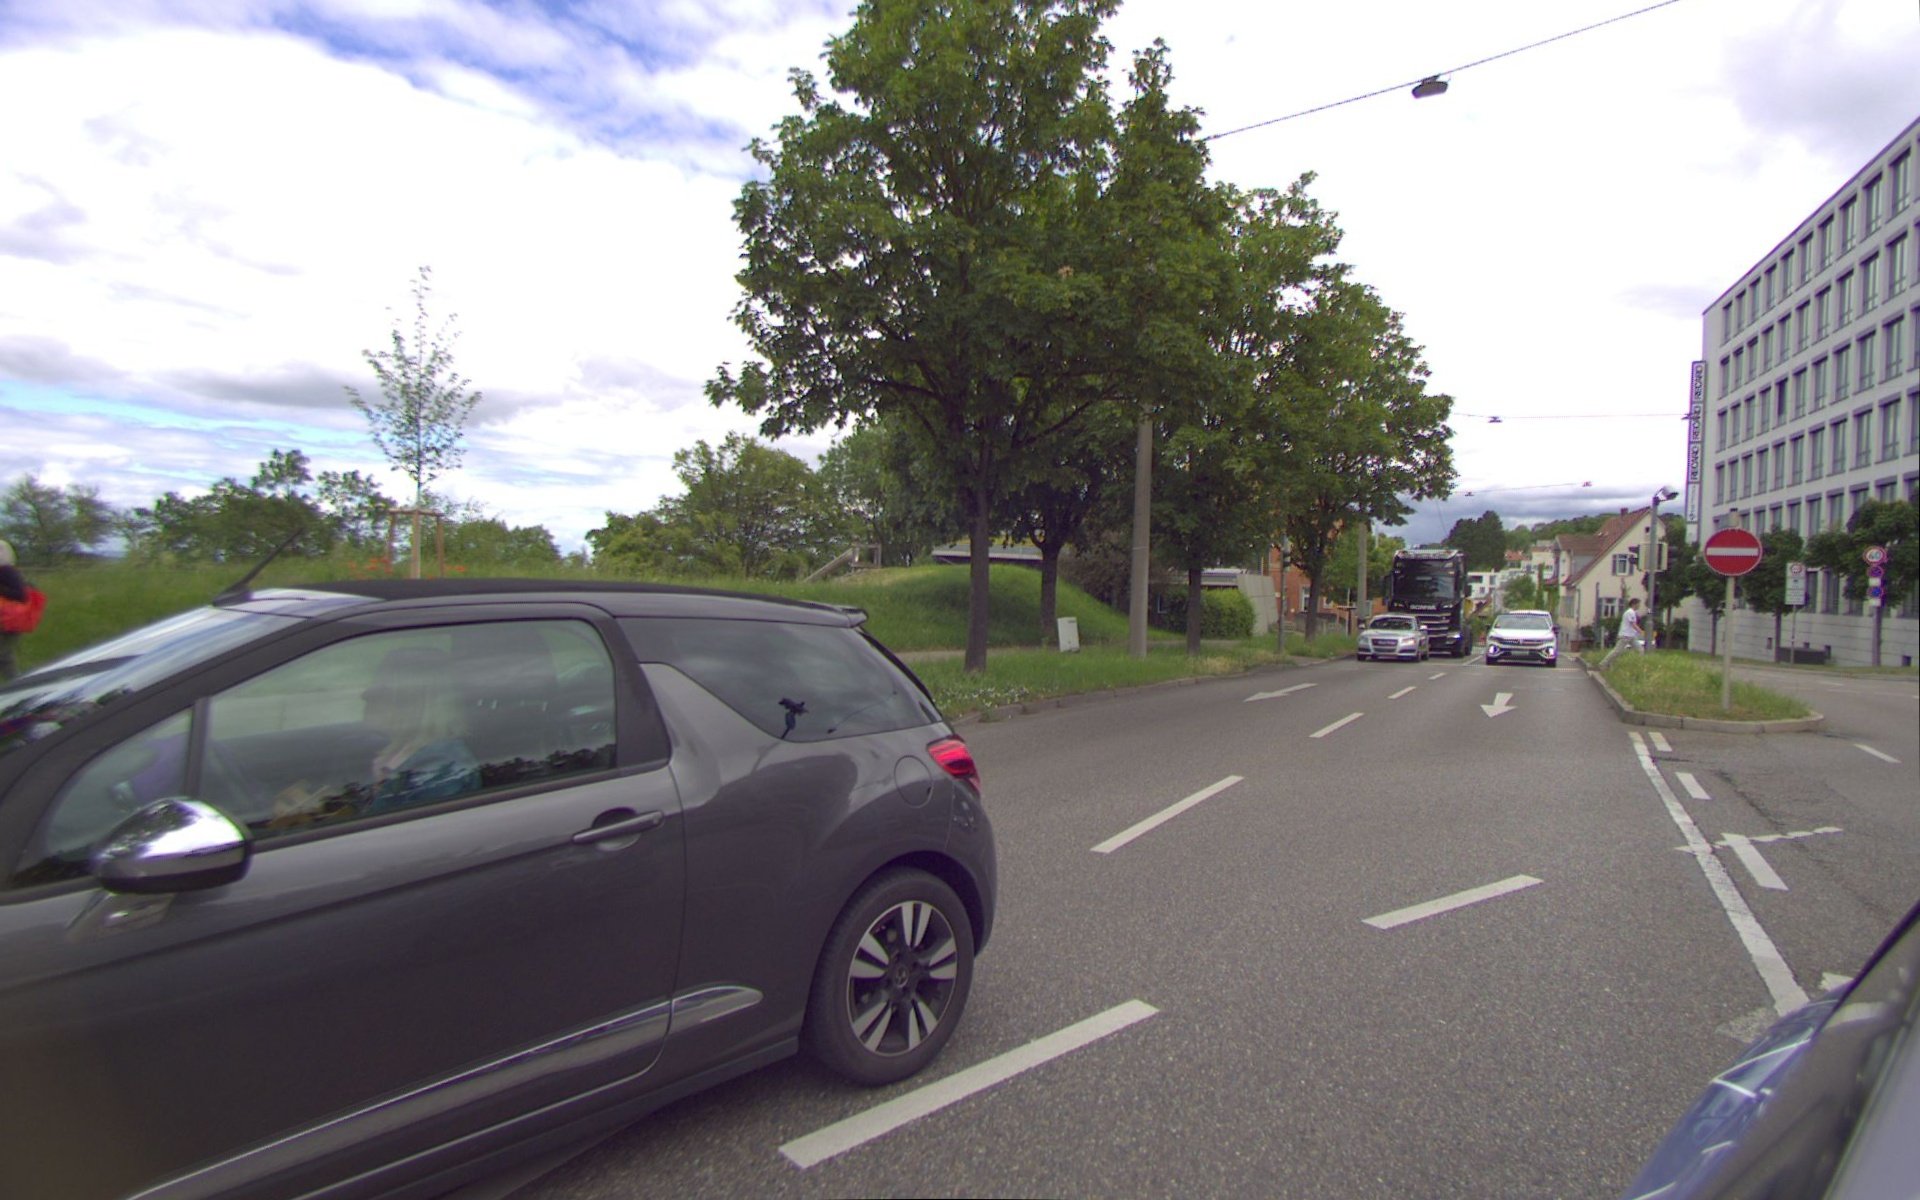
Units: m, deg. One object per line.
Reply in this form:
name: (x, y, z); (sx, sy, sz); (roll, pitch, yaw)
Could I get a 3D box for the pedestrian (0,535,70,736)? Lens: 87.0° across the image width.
pedestrian: (-8.060, 0.284, 8.502); (0.539, 1.623, 0.694); (7, 3, 31)

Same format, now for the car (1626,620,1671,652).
car: (49.568, 2.573, 72.939); (2.156, 2.039, 3.964); (1, 1, 26)

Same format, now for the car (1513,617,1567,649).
car: (27.301, 1.535, 47.742); (1.737, 1.394, 4.251); (0, 0, 24)

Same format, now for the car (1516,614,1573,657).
car: (20.623, 1.210, 35.714); (1.640, 1.391, 3.934); (0, -1, 30)

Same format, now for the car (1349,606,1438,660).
car: (13.201, 0.950, 30.661); (1.973, 1.461, 4.113); (0, 0, 31)

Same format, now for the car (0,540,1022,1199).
car: (-1.827, 0.638, 2.478); (3.994, 1.479, 1.702); (0, 0, -44)

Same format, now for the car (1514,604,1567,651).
car: (23.900, 1.093, 41.773); (1.739, 1.820, 4.244); (0, -1, 28)

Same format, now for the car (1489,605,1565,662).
car: (16.816, 0.948, 29.958); (1.841, 1.549, 4.438); (0, -1, 31)

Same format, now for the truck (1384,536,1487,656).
truck: (18.172, -0.148, 38.332); (2.804, 3.975, 9.358); (0, 0, 30)

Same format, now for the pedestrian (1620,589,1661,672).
pedestrian: (16.208, 0.713, 24.110); (0.750, 1.942, 0.581); (1, 0, 31)
